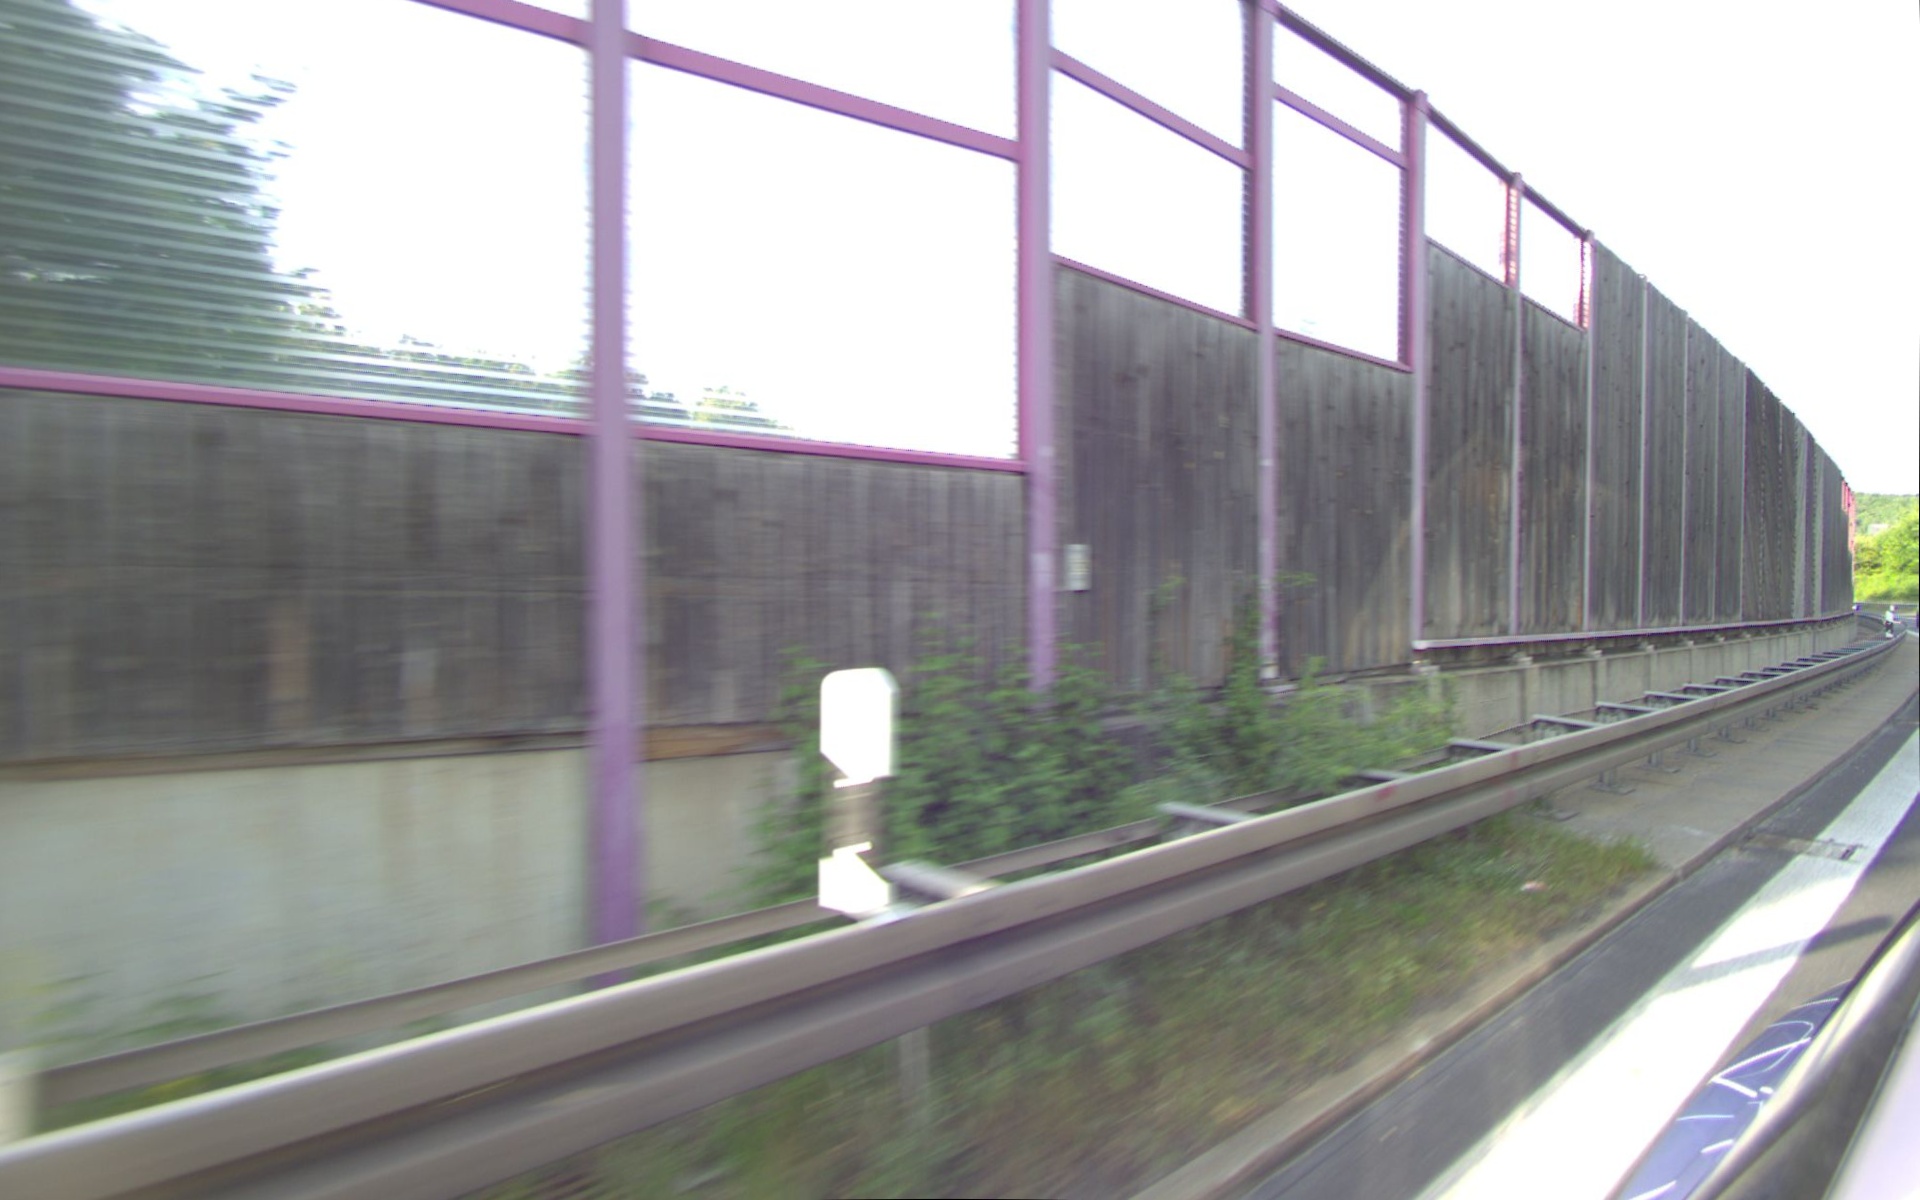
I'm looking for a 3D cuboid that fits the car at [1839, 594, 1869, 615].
[{"bbox_3d":[76.917,0.378,87.095,1.800,1.738,3.942,1,1,40],"label":"car"}]
